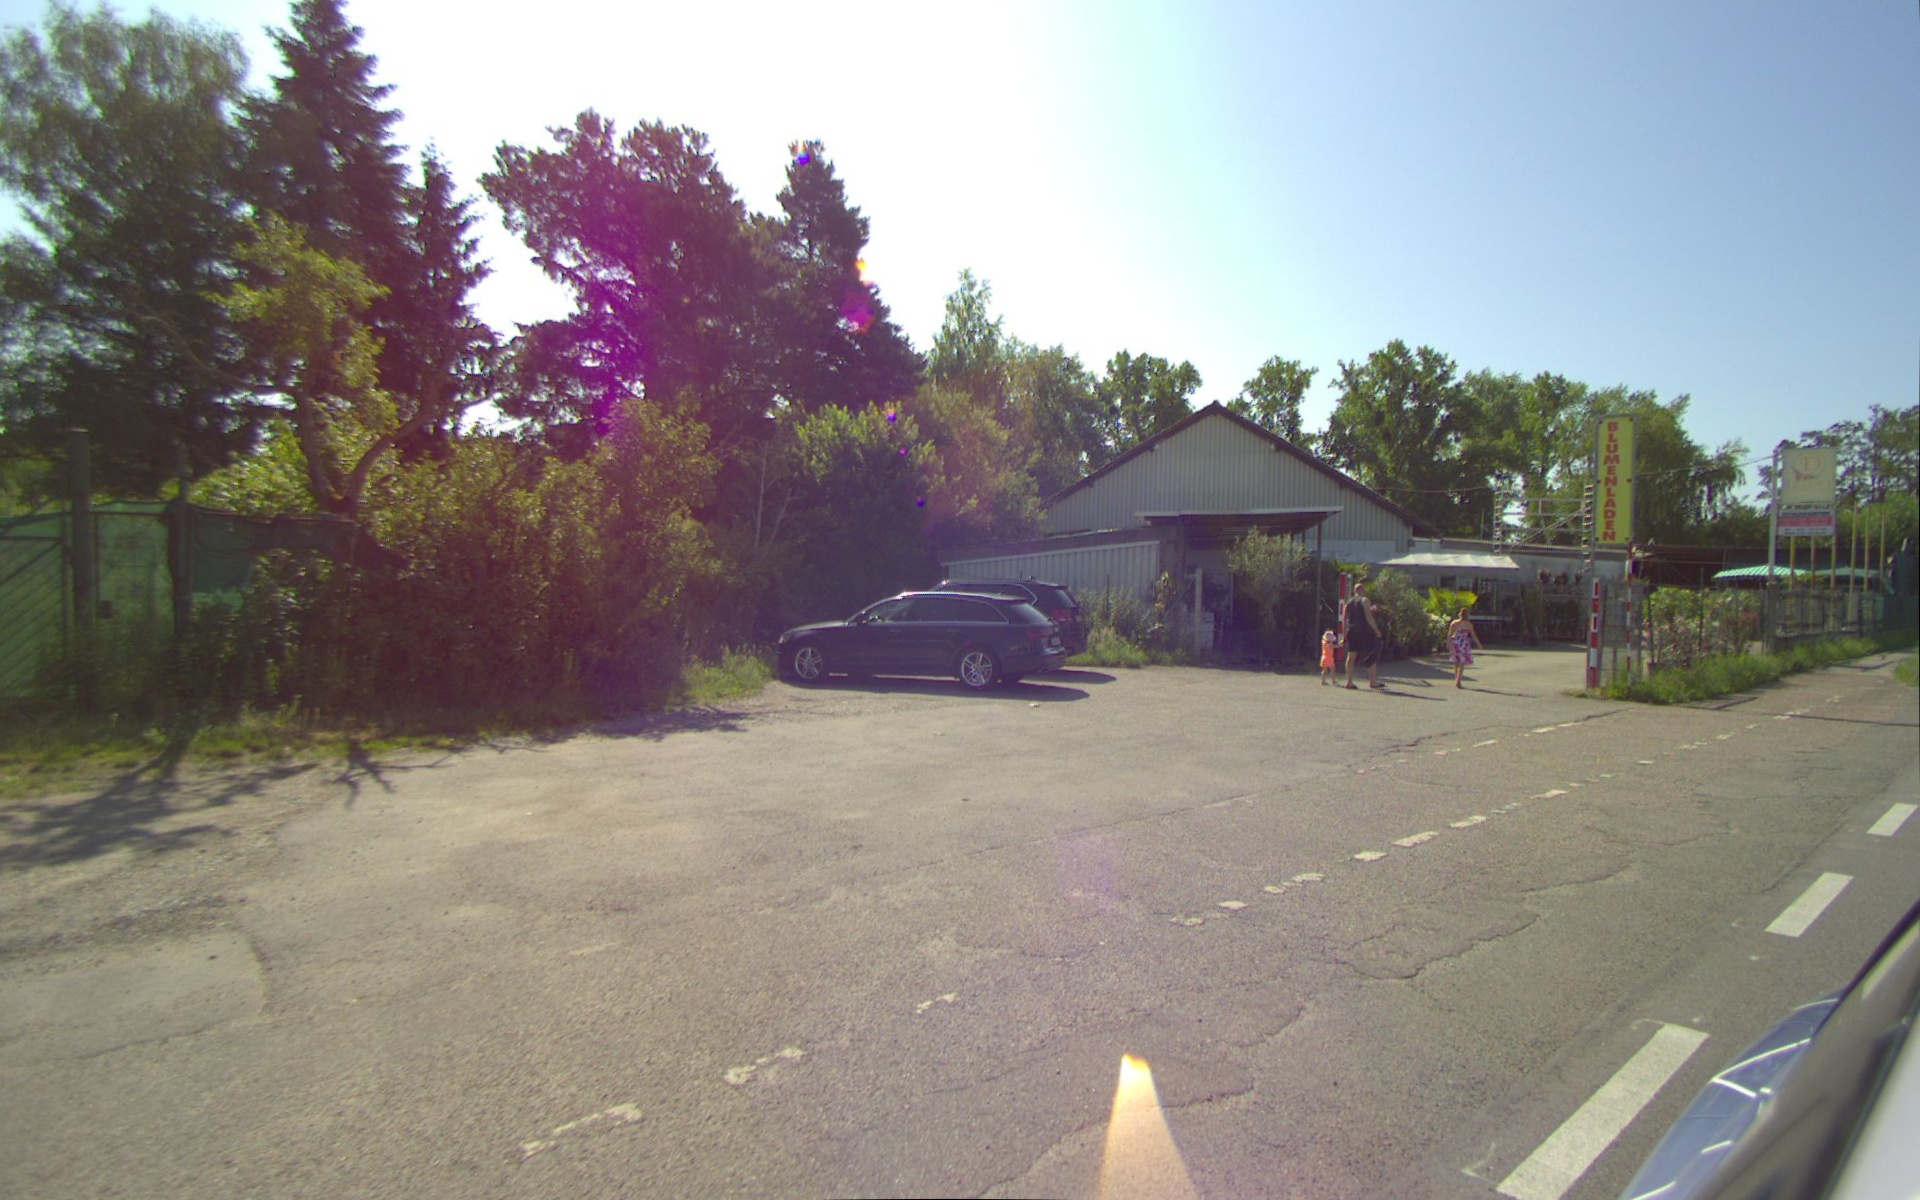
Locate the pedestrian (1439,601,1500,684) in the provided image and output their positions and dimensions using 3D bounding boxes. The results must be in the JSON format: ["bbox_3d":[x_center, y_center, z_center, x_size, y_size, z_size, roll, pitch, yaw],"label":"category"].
[{"bbox_3d":[8.729,0.707,17.337,0.722,1.355,0.813,2,1,43],"label":"pedestrian"}]

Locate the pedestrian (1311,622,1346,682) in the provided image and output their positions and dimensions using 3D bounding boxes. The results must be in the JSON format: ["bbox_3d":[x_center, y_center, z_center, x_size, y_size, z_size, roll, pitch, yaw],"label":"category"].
[{"bbox_3d":[6.377,0.894,17.522,0.469,0.996,0.333,2,1,44],"label":"pedestrian"}]

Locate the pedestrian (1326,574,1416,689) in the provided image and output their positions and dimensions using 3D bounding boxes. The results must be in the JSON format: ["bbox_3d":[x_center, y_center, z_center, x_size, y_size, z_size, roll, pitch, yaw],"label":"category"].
[{"bbox_3d":[6.801,0.486,16.755,1.096,1.808,0.922,2,1,44],"label":"pedestrian"}]

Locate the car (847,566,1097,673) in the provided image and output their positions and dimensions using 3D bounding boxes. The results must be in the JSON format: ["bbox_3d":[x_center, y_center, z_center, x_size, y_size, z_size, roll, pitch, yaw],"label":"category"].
[{"bbox_3d":[0.241,0.311,19.336,4.410,1.826,1.851,1,1,21],"label":"car"}]

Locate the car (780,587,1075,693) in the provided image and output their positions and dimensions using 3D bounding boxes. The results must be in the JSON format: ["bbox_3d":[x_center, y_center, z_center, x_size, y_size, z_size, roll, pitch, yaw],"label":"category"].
[{"bbox_3d":[-0.521,0.556,16.219,4.410,1.448,1.703,1,1,21],"label":"car"}]
